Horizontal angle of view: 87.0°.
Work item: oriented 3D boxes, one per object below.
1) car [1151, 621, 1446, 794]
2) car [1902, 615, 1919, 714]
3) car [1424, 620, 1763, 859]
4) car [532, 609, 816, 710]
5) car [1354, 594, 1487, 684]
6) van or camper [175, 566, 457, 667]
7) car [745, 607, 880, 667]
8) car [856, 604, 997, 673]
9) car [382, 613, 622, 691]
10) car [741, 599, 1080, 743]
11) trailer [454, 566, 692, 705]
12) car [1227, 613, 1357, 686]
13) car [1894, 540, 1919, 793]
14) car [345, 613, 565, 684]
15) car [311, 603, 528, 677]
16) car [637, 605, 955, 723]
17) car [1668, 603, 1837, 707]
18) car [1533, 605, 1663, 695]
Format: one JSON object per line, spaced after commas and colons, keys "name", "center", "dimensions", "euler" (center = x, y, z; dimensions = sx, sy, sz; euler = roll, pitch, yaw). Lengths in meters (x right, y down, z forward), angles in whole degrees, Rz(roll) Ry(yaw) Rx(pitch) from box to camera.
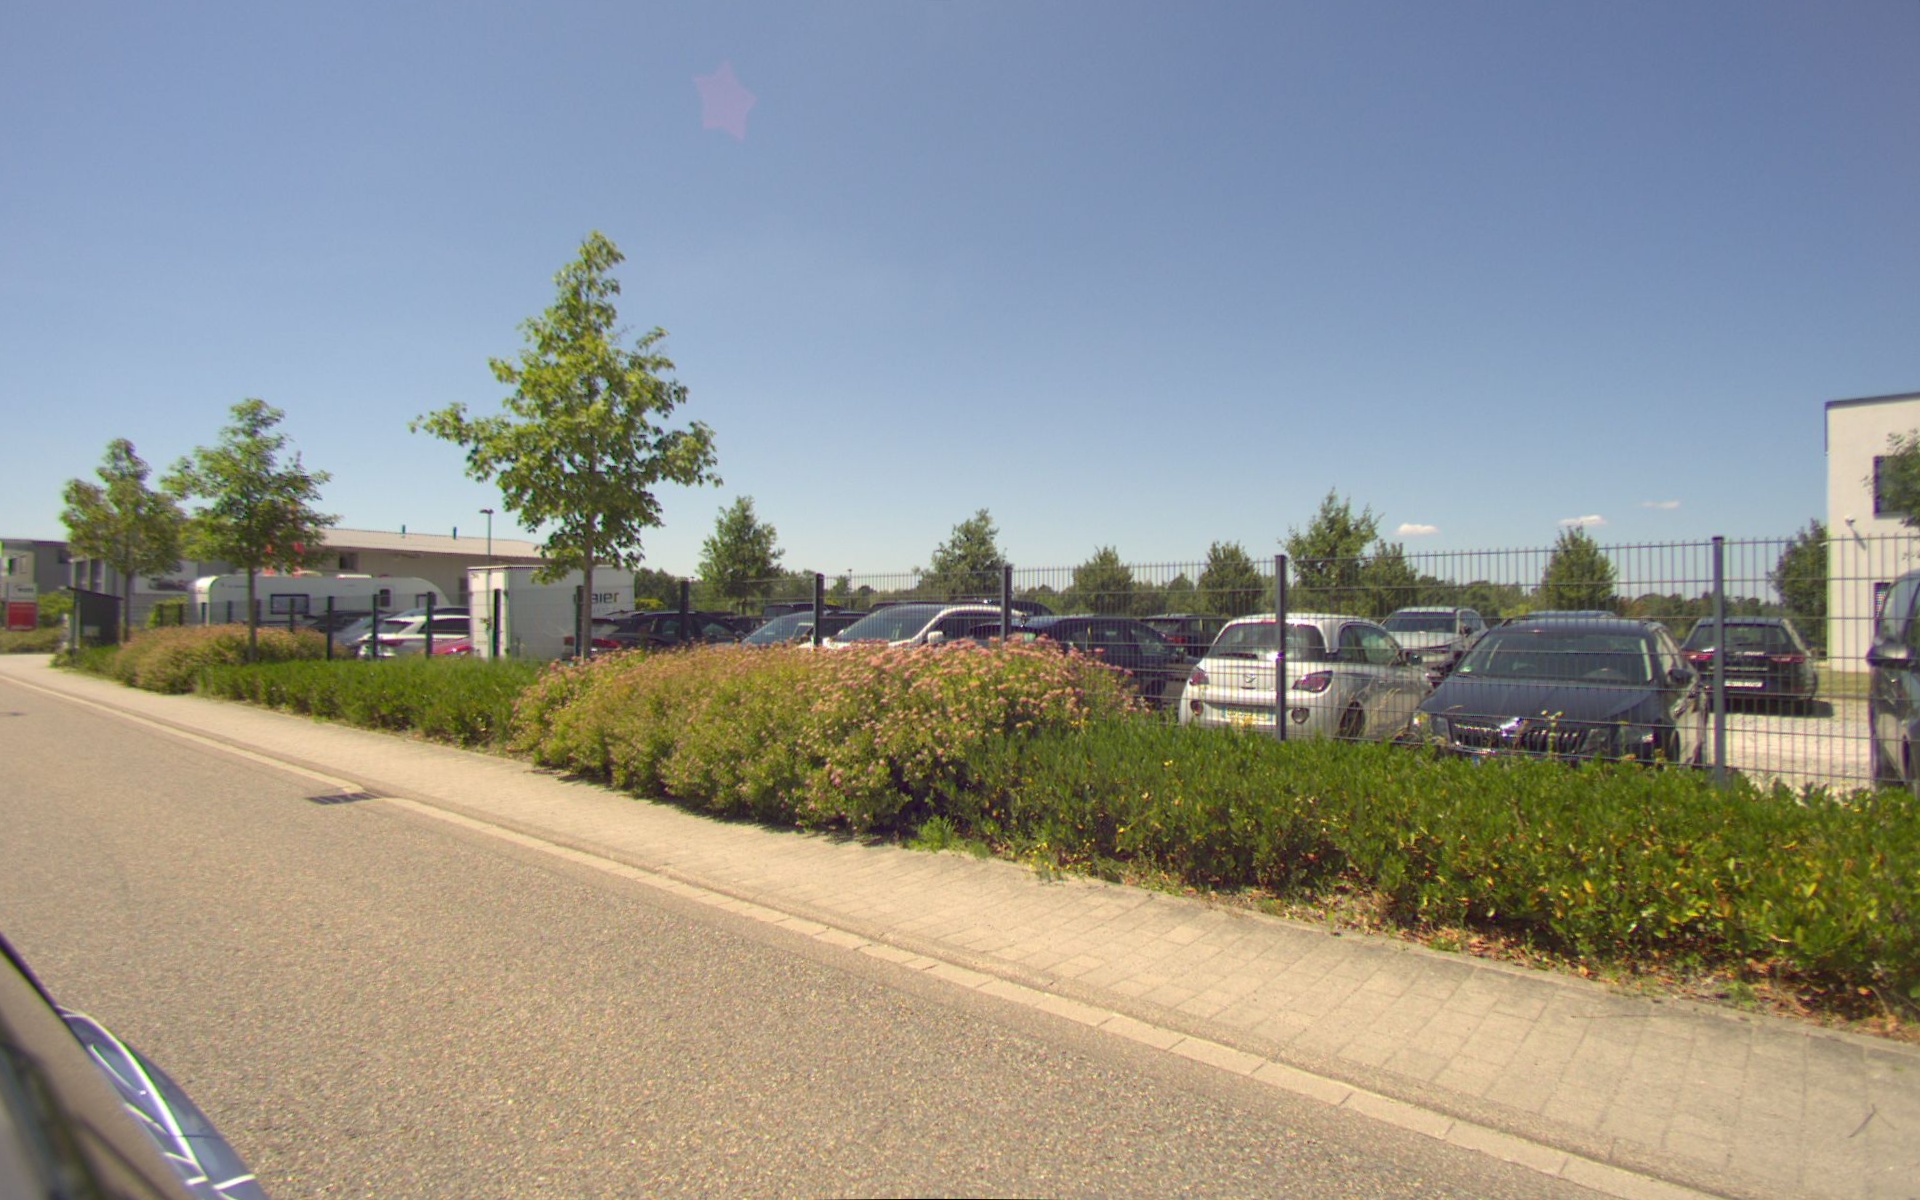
{"name": "car", "center": [3.725, 0.988, 10.862], "dimensions": [1.903, 1.510, 3.336], "euler": [-1, -1, 40]}
{"name": "car", "center": [14.767, 0.893, 14.320], "dimensions": [1.879, 1.361, 4.065], "euler": [-1, -1, 40]}
{"name": "car", "center": [5.627, 0.942, 8.733], "dimensions": [1.903, 1.510, 4.150], "euler": [-1, -1, 40]}
{"name": "car", "center": [-4.922, 0.962, 17.937], "dimensions": [1.999, 1.547, 4.499], "euler": [-1, -2, 41]}
{"name": "car", "center": [9.040, 0.727, 19.749], "dimensions": [1.476, 1.596, 3.436], "euler": [-1, -1, 40]}
{"name": "van or camper", "center": [-19.156, 0.541, 30.486], "dimensions": [2.574, 2.704, 6.704], "euler": [-1, -2, 41]}
{"name": "car", "center": [-4.602, 1.135, 31.959], "dimensions": [1.998, 1.785, 3.947], "euler": [-1, -2, 39]}
{"name": "car", "center": [-0.867, 1.052, 28.338], "dimensions": [1.804, 1.785, 3.947], "euler": [-1, -2, 39]}
{"name": "car", "center": [-9.499, 1.017, 21.266], "dimensions": [1.998, 1.463, 4.165], "euler": [-1, -2, 39]}
{"name": "car", "center": [-0.504, 0.857, 13.959], "dimensions": [1.999, 1.641, 4.682], "euler": [-1, -2, 41]}
{"name": "trailer", "center": [-7.305, 0.590, 19.420], "dimensions": [1.724, 2.378, 3.949], "euler": [-1, 0, 38]}
{"name": "car", "center": [7.164, 0.994, 21.680], "dimensions": [1.476, 1.425, 3.436], "euler": [-1, -1, 40]}
{"name": "car", "center": [7.885, 0.498, 6.907], "dimensions": [1.963, 1.865, 5.007], "euler": [-1, -1, 40]}
{"name": "car", "center": [-11.454, 1.054, 23.209], "dimensions": [1.775, 1.463, 4.166], "euler": [-1, -2, 38]}
{"name": "car", "center": [-13.326, 0.954, 25.209], "dimensions": [1.773, 1.678, 4.469], "euler": [-1, -2, 35]}
{"name": "car", "center": [-2.363, 0.888, 15.660], "dimensions": [1.999, 1.547, 4.682], "euler": [-1, -2, 41]}
{"name": "car", "center": [12.630, 0.794, 16.079], "dimensions": [1.879, 1.425, 4.065], "euler": [-1, -1, 40]}
{"name": "car", "center": [11.334, 0.824, 17.888], "dimensions": [1.476, 1.425, 3.436], "euler": [-1, -1, 40]}
